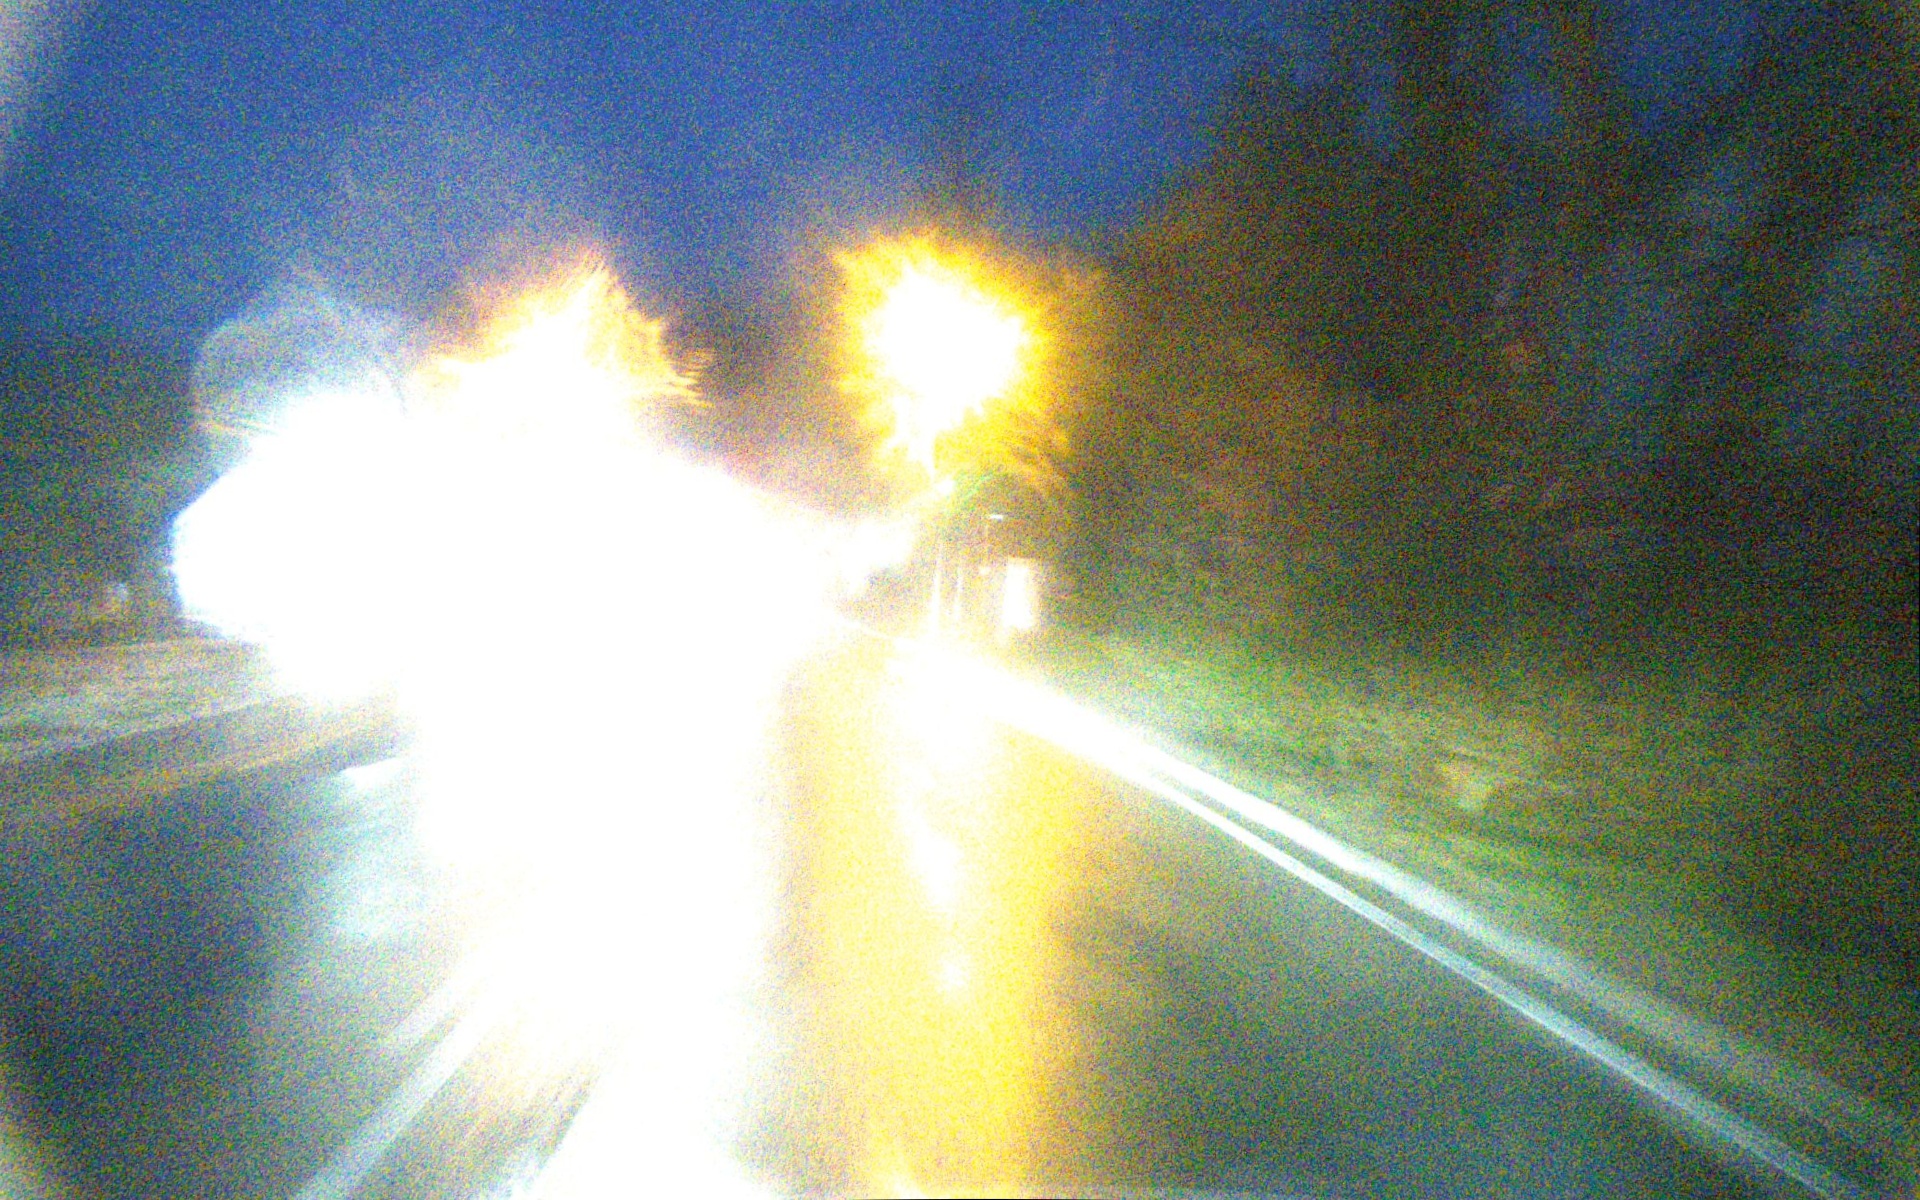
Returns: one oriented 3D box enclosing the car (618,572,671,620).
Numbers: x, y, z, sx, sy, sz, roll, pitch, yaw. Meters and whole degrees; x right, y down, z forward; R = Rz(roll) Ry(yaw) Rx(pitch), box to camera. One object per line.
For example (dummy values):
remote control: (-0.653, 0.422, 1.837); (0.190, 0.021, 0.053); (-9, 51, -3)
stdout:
car: (-10.612, -0.146, 55.818); (1.605, 1.537, 4.108); (-1, 0, -10)

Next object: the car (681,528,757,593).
car: (-10.042, -1.663, 68.431); (2.496, 2.541, 5.693); (0, 3, -15)

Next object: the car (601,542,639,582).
car: (-19.487, -2.169, 94.717); (1.959, 2.049, 3.986); (2, -1, -13)

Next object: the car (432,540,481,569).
car: (-37.503, -3.347, 123.068); (1.978, 2.049, 4.784); (3, -1, -36)

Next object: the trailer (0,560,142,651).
trailer: (-18.512, 0.048, 34.536); (1.783, 1.706, 4.084); (-2, 2, -16)

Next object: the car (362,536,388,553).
car: (-56.167, -5.336, 158.730); (1.618, 1.536, 4.055); (-2, 2, -30)
